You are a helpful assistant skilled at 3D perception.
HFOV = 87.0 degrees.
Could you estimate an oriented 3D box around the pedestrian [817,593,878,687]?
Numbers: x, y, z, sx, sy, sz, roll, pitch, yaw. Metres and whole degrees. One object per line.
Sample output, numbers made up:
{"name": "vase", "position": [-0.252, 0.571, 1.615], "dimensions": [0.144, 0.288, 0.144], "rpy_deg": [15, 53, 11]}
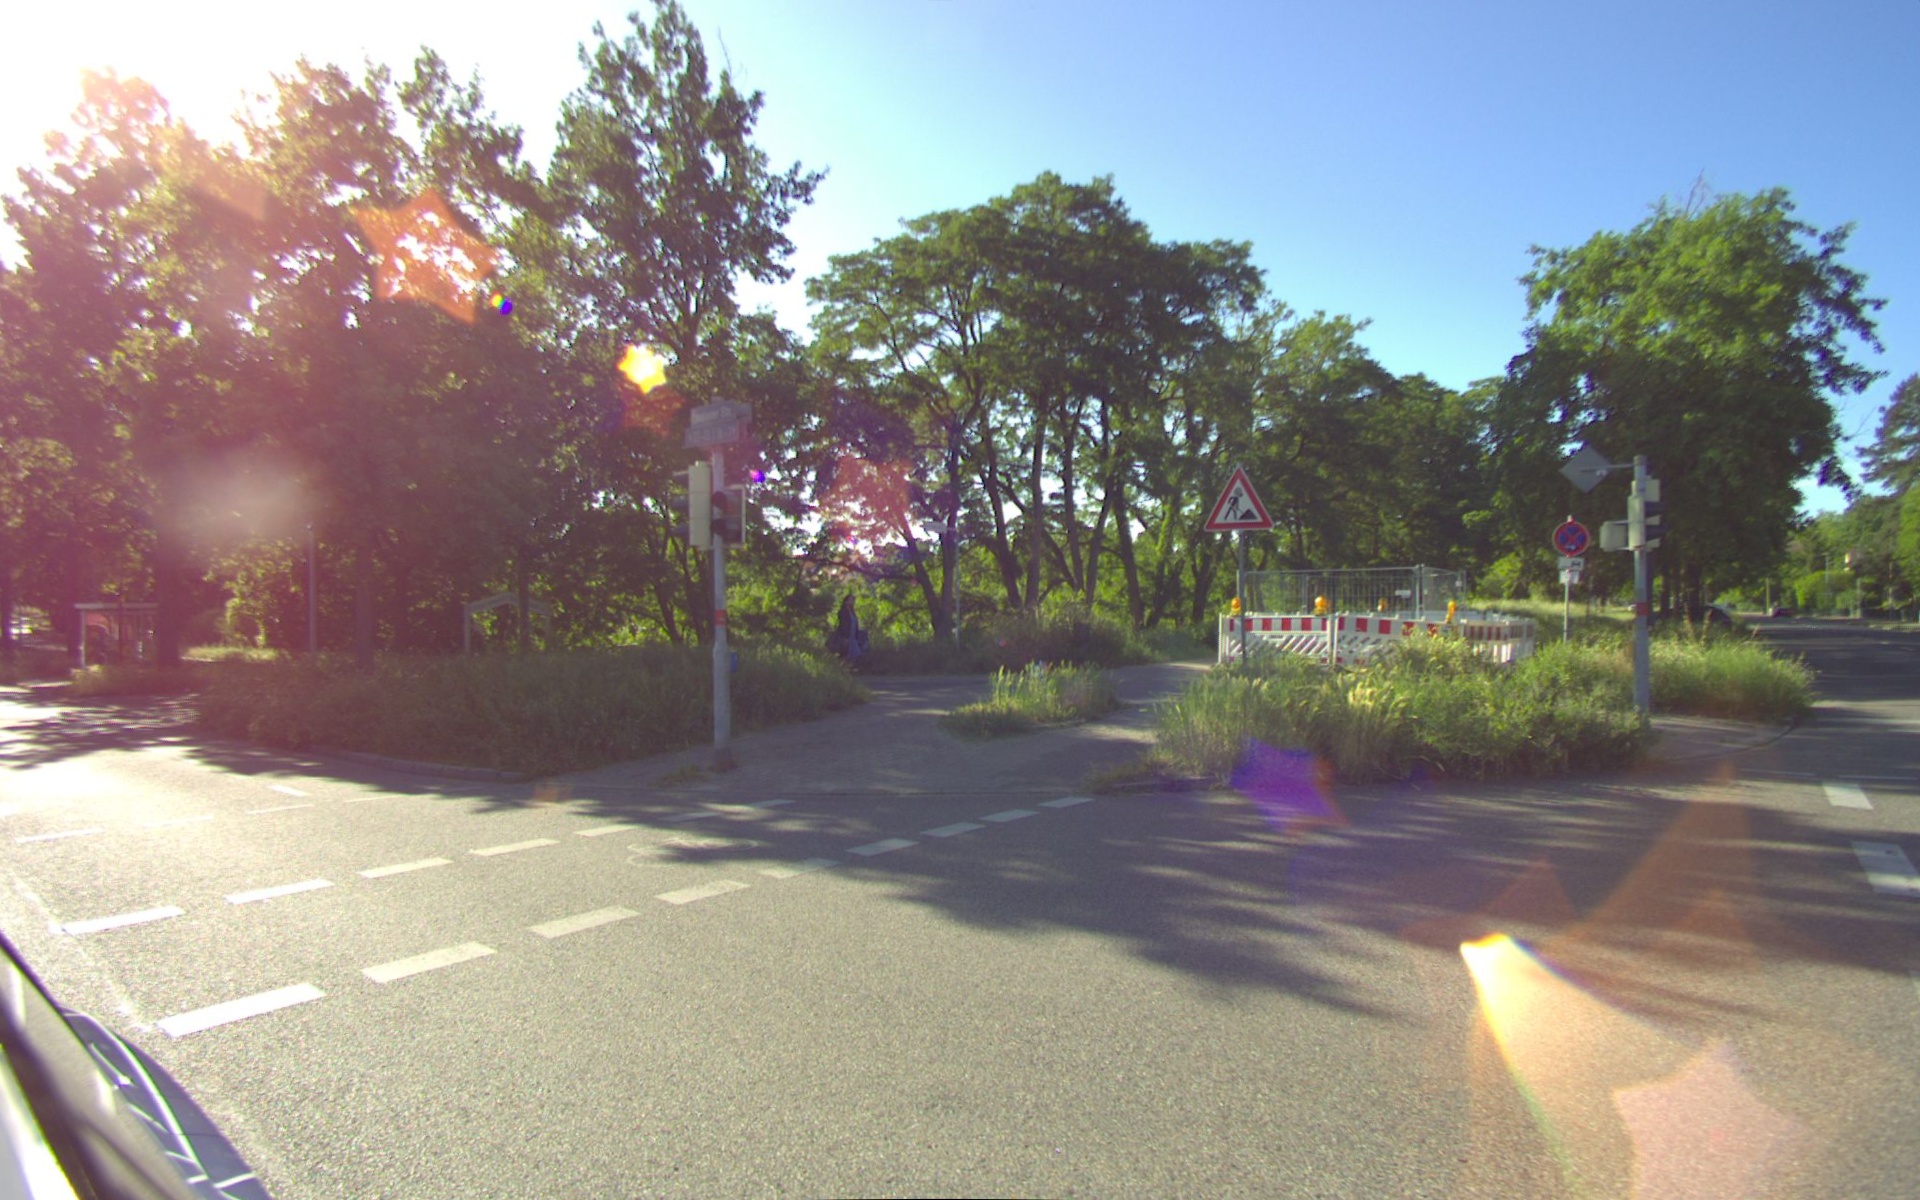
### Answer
{"name": "pedestrian", "position": [-2.028, 0.713, 18.284], "dimensions": [0.647, 1.646, 0.790], "rpy_deg": [-3, 0, 41]}

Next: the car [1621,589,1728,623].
{"name": "car", "position": [33.833, 0.285, 47.987], "dimensions": [3.996, 1.432, 1.620], "rpy_deg": [-3, 0, 40]}

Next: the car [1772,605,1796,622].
{"name": "car", "position": [112.568, 1.827, 138.338], "dimensions": [1.994, 2.029, 3.956], "rpy_deg": [-3, 0, 32]}
